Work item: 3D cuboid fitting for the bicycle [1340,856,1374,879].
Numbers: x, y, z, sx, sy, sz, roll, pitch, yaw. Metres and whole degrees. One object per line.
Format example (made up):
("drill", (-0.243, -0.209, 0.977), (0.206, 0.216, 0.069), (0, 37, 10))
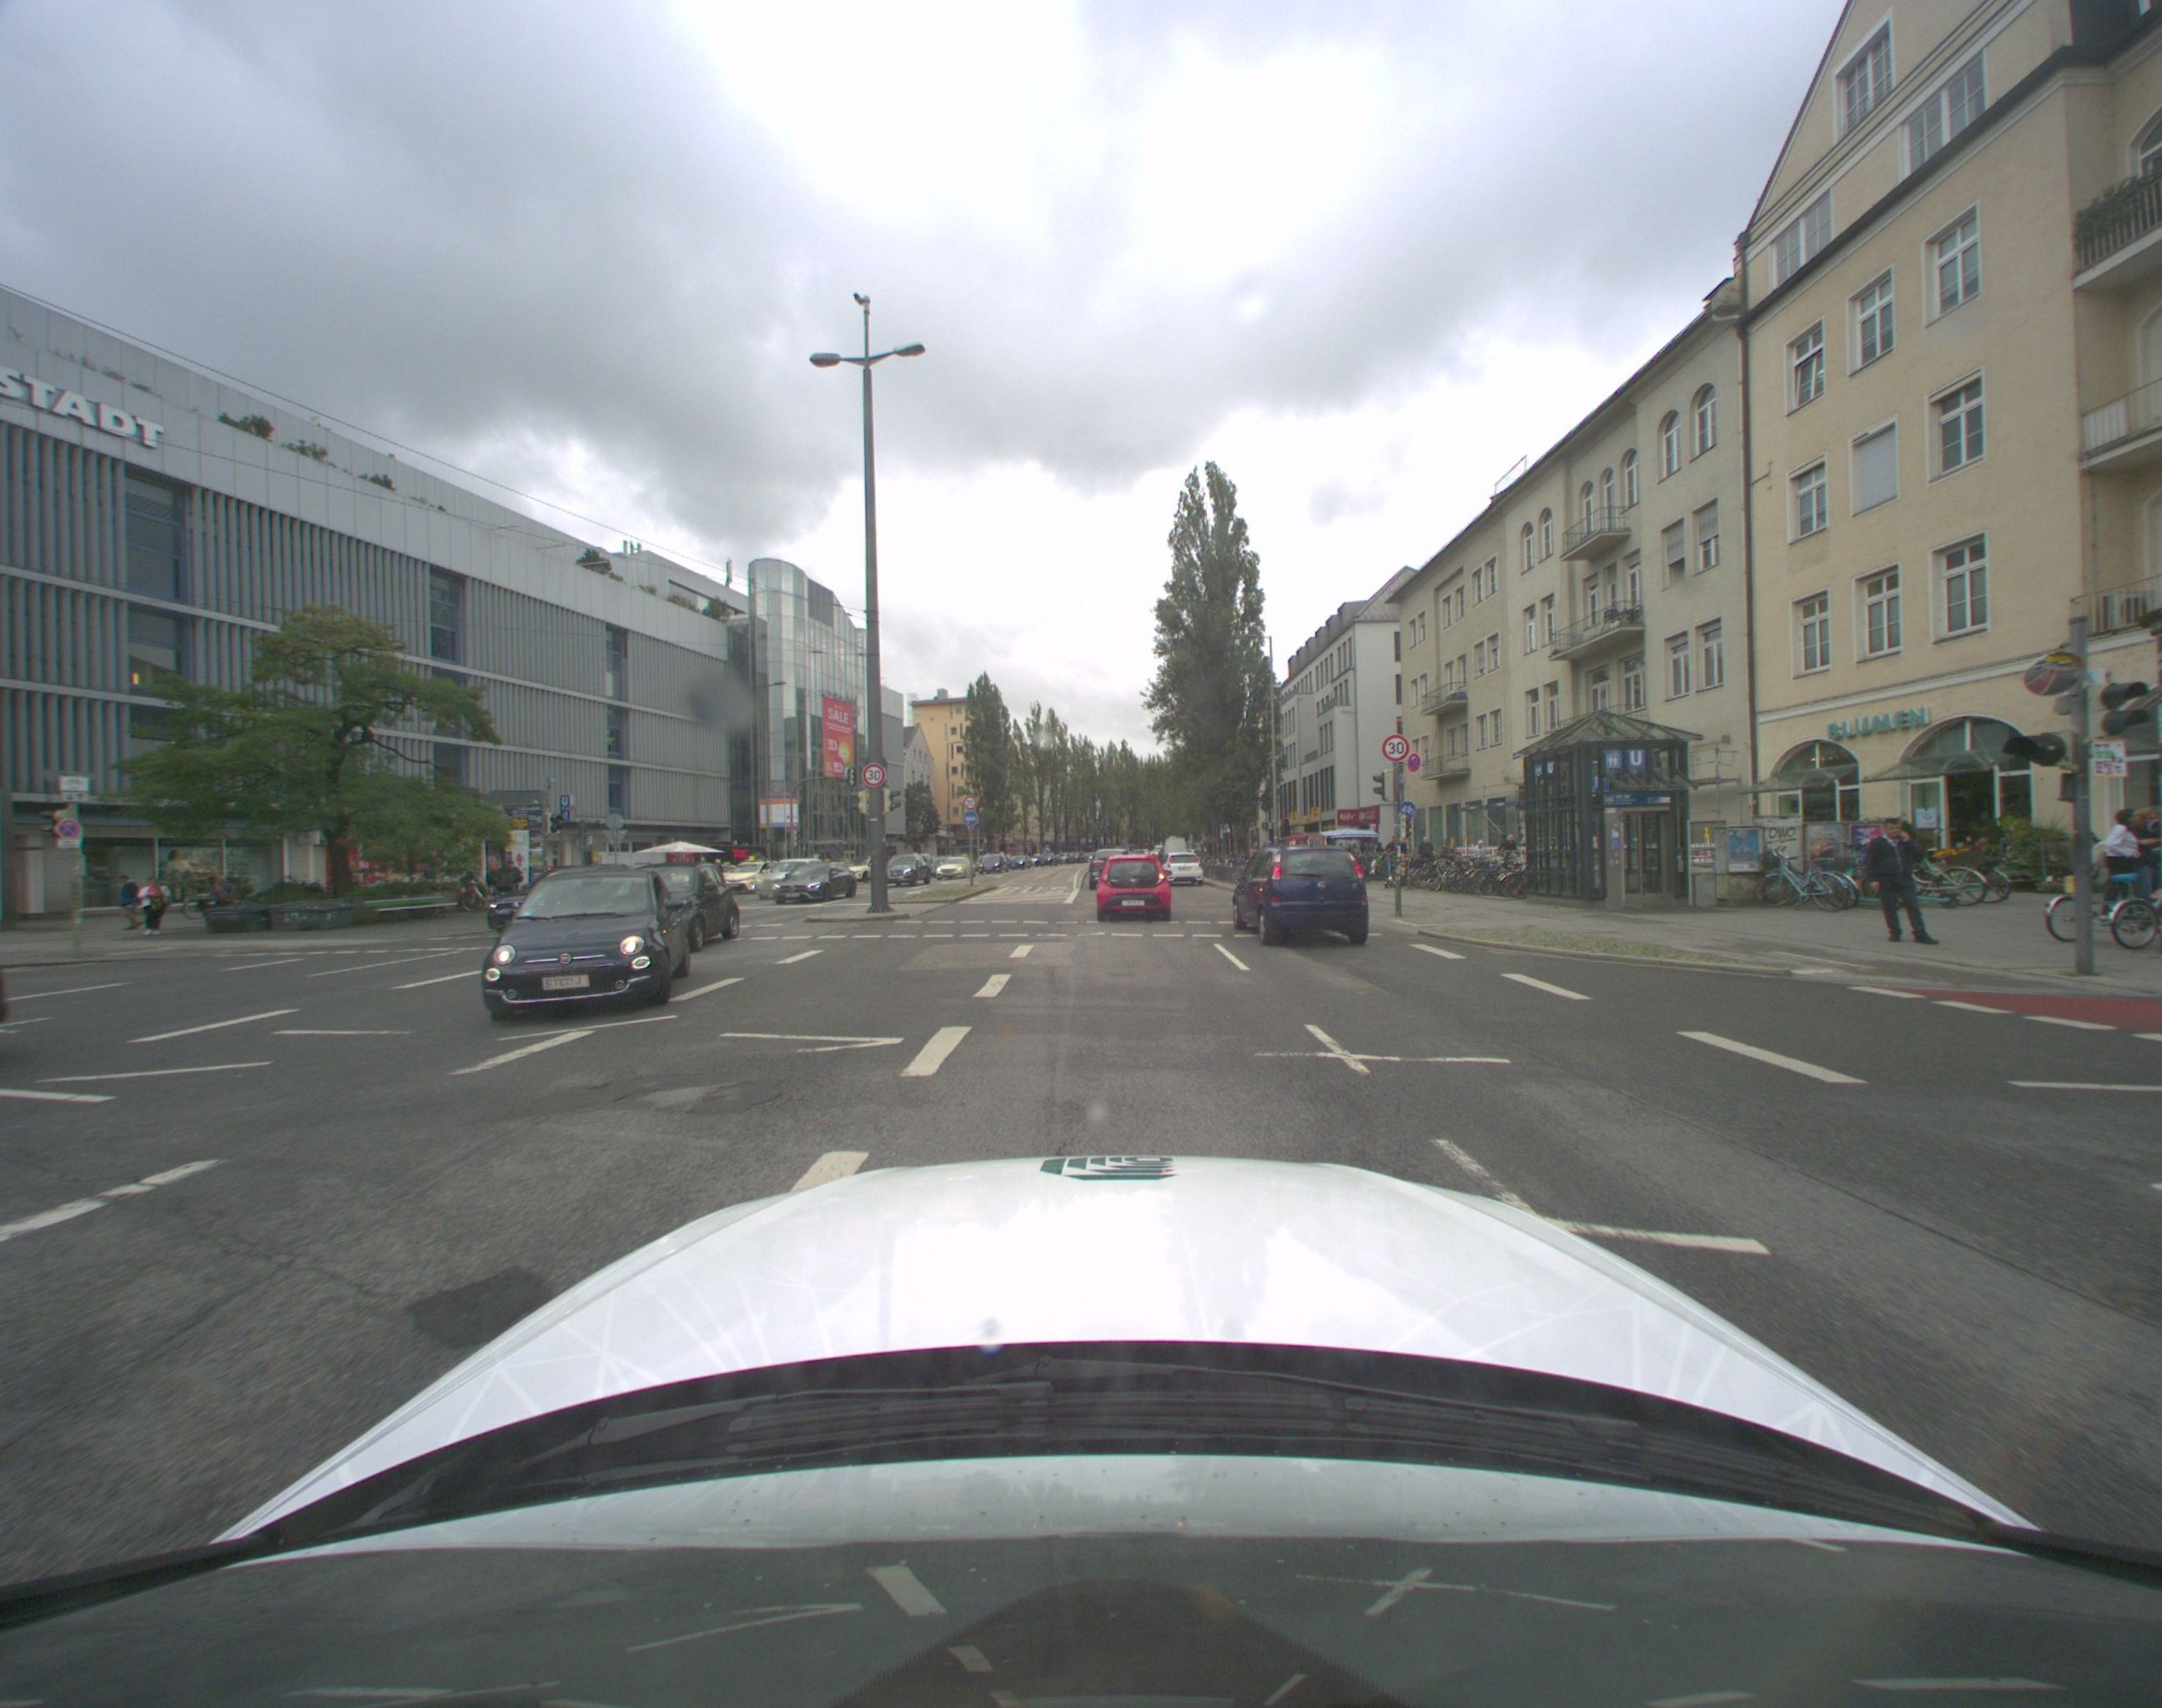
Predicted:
("bicycle", (11.649, 0.551, 34.391), (1.287, 0.915, 0.369), (-2, 0, 2))

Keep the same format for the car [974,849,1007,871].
("car", (-7.400, 0.476, 66.663), (1.928, 1.738, 4.591), (-2, 0, 3))

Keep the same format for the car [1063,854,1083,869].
("car", (-1.066, 1.003, 109.270), (1.983, 1.691, 4.931), (-5, 0, 7))

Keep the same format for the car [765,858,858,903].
("car", (-9.814, 0.926, 30.043), (1.987, 1.411, 4.167), (-2, 0, -1))

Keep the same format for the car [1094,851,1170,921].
("car", (1.152, 0.664, 18.714), (1.598, 1.461, 3.132), (0, 0, 2))

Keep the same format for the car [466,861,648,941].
("car", (-12.851, 1.074, 20.303), (1.776, 1.662, 4.002), (-2, 0, 2))

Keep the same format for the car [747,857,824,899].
("car", (-12.253, 0.953, 34.065), (1.693, 1.596, 4.000), (-2, 0, 0))

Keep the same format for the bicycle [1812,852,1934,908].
("bicycle", (14.755, 0.452, 15.237), (0.492, 0.975, 1.867), (-2, 0, 2))

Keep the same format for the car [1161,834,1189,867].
("car", (8.124, -0.306, 70.750), (2.098, 2.718, 4.807), (-2, 0, 3))

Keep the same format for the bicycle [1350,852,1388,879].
("bicycle", (11.737, 0.473, 33.227), (1.412, 1.077, 0.369), (-2, 0, 2))

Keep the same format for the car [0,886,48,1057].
("car", (-10.473, 1.092, 5.424), (1.659, 1.508, 4.281), (-2, 0, 0))

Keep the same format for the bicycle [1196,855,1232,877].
("bicycle", (7.049, 0.618, 43.215), (1.815, 1.136, 0.590), (-1, 0, 44))

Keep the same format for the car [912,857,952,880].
("car", (-11.040, 1.052, 60.802), (1.830, 1.613, 4.263), (-2, 0, 5))

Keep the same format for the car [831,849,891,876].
("car", (-14.378, 0.504, 53.477), (1.979, 1.679, 4.199), (0, 0, 14))

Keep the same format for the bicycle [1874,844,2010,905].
("bicycle", (16.000, 0.355, 15.205), (0.493, 1.059, 1.864), (-2, 0, -3))

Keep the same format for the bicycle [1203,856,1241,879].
("bicycle", (6.876, 0.664, 39.723), (1.815, 1.052, 0.590), (-1, 0, 44))

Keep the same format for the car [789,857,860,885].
("car", (-15.232, 0.974, 48.646), (1.981, 1.508, 4.649), (-2, 0, 11))

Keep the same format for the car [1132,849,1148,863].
("car", (7.977, 0.249, 109.745), (1.983, 1.838, 4.008), (-2, 0, 7))

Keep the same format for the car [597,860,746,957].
("car", (-7.359, 0.917, 14.901), (1.502, 1.534, 2.830), (-3, 0, -7))

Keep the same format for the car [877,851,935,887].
("car", (-9.077, 0.731, 42.611), (1.736, 1.670, 4.735), (-2, 0, 2))

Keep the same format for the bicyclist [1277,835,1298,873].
("bicyclist", (9.244, -0.015, 36.526), (0.611, 1.657, 1.252), (-2, 0, 2))

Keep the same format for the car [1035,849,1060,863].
("car", (-3.746, 0.231, 91.879), (1.982, 1.534, 4.599), (-2, 0, 9))

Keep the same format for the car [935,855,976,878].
("car", (-8.225, 0.796, 53.798), (1.758, 1.421, 4.642), (-2, 0, 2))

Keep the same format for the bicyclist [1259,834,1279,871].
("bicyclist", (9.684, -0.071, 42.050), (0.759, 1.869, 1.133), (-2, 0, 2))

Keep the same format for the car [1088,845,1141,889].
("car", (1.326, 0.495, 33.340), (1.986, 1.618, 4.001), (-2, 0, 1))

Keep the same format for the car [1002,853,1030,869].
("car", (-6.270, 0.663, 78.897), (1.835, 1.382, 4.609), (-2, 0, 6))

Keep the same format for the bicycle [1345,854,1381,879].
("bicycle", (11.671, 0.514, 33.734), (1.309, 0.999, 0.369), (-2, 0, 2))

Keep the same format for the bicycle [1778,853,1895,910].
("bicycle", (14.079, 0.479, 15.246), (0.492, 0.975, 1.867), (-2, 0, 2))

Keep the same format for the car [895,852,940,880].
("car", (-13.307, 0.929, 66.843), (1.983, 2.013, 5.533), (-2, 1, 6))

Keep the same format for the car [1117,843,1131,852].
("car", (8.556, -1.339, 161.135), (1.979, 1.691, 4.431), (-2, 0, 14))

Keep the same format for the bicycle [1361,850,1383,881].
("bicycle", (11.492, 0.448, 32.176), (0.364, 1.141, 1.734), (-2, 0, 34))

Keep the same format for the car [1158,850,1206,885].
("car", (4.412, 0.565, 35.925), (1.693, 1.426, 3.498), (-2, 0, 1))

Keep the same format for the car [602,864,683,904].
("car", (-19.551, 1.295, 36.522), (1.995, 1.536, 4.396), (-2, 1, -12))

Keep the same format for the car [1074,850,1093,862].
("car", (0.364, 0.224, 118.443), (1.982, 1.691, 4.933), (-2, 0, 9))

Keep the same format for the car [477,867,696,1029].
("car", (-5.542, 0.910, 9.554), (1.551, 1.445, 3.514), (-2, 0, -21))

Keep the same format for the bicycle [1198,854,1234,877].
("bicycle", (7.043, 0.613, 42.453), (1.815, 1.136, 0.590), (-1, 0, 44))

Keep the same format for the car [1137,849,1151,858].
("car", (12.470, -0.096, 161.107), (1.979, 1.691, 4.431), (-2, 0, 14))

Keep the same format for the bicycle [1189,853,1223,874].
("bicycle", (7.071, 0.555, 46.143), (1.814, 1.136, 0.590), (-1, 0, 37))

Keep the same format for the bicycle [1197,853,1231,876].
("bicycle", (7.160, 0.564, 43.880), (1.815, 1.241, 0.590), (-1, 0, 44))

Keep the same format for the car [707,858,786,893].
("car", (-16.570, 1.017, 40.579), (1.893, 1.543, 4.395), (-2, 0, 2))
